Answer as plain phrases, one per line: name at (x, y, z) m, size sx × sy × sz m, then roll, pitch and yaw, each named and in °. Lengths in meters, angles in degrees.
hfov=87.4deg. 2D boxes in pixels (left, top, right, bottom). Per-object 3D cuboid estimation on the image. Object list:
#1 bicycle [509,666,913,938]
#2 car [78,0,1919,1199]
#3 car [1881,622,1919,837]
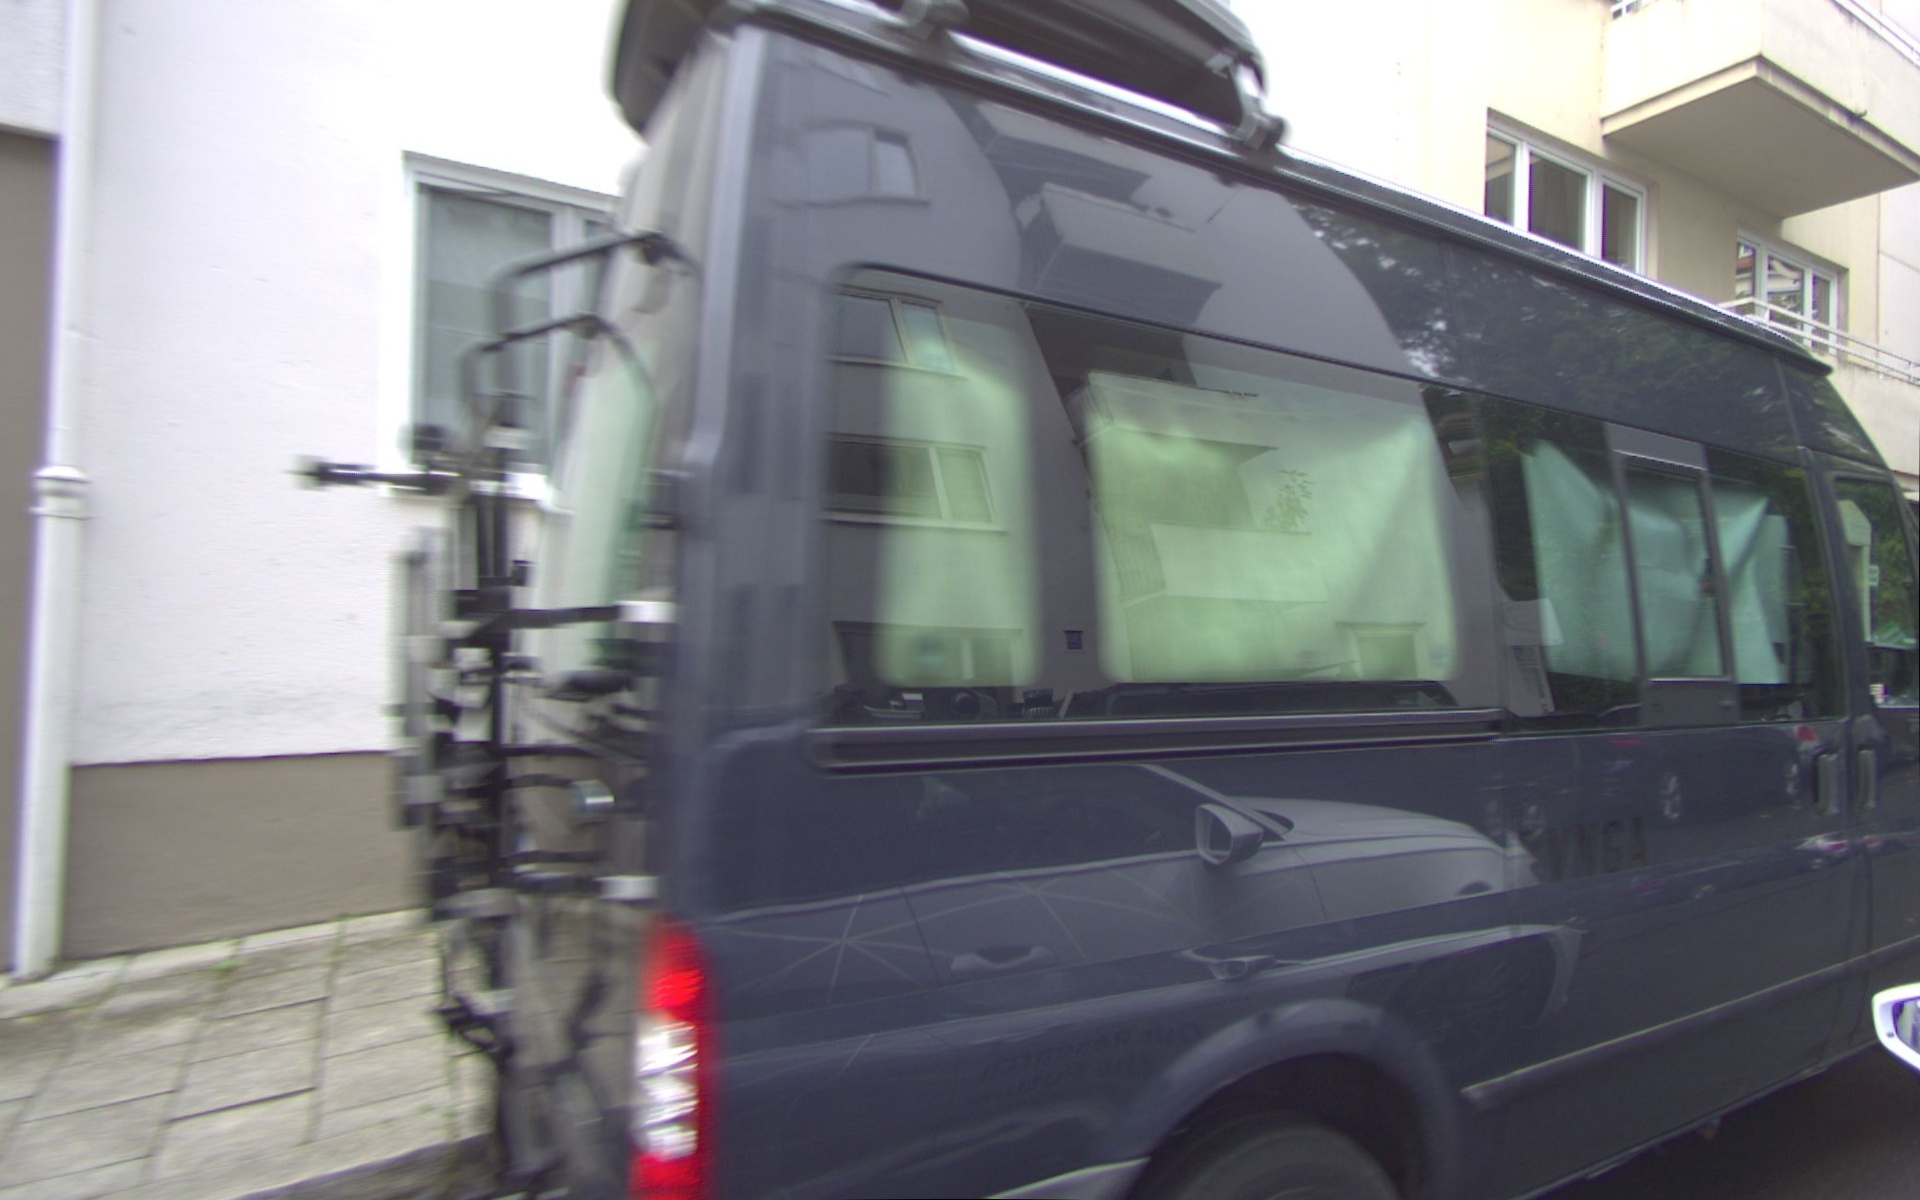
bicycle at (-1.166, 0.897, 4.905) m, size 1.847 × 1.112 × 0.461 m, roll 2°, pitch 0°, yaw -29°
car at (1.179, 0.348, 2.948) m, size 5.327 × 2.308 × 2.009 m, roll 2°, pitch -3°, yaw -30°
car at (8.640, 0.951, 7.545) m, size 3.667 × 1.516 × 1.611 m, roll 2°, pitch -1°, yaw -32°
